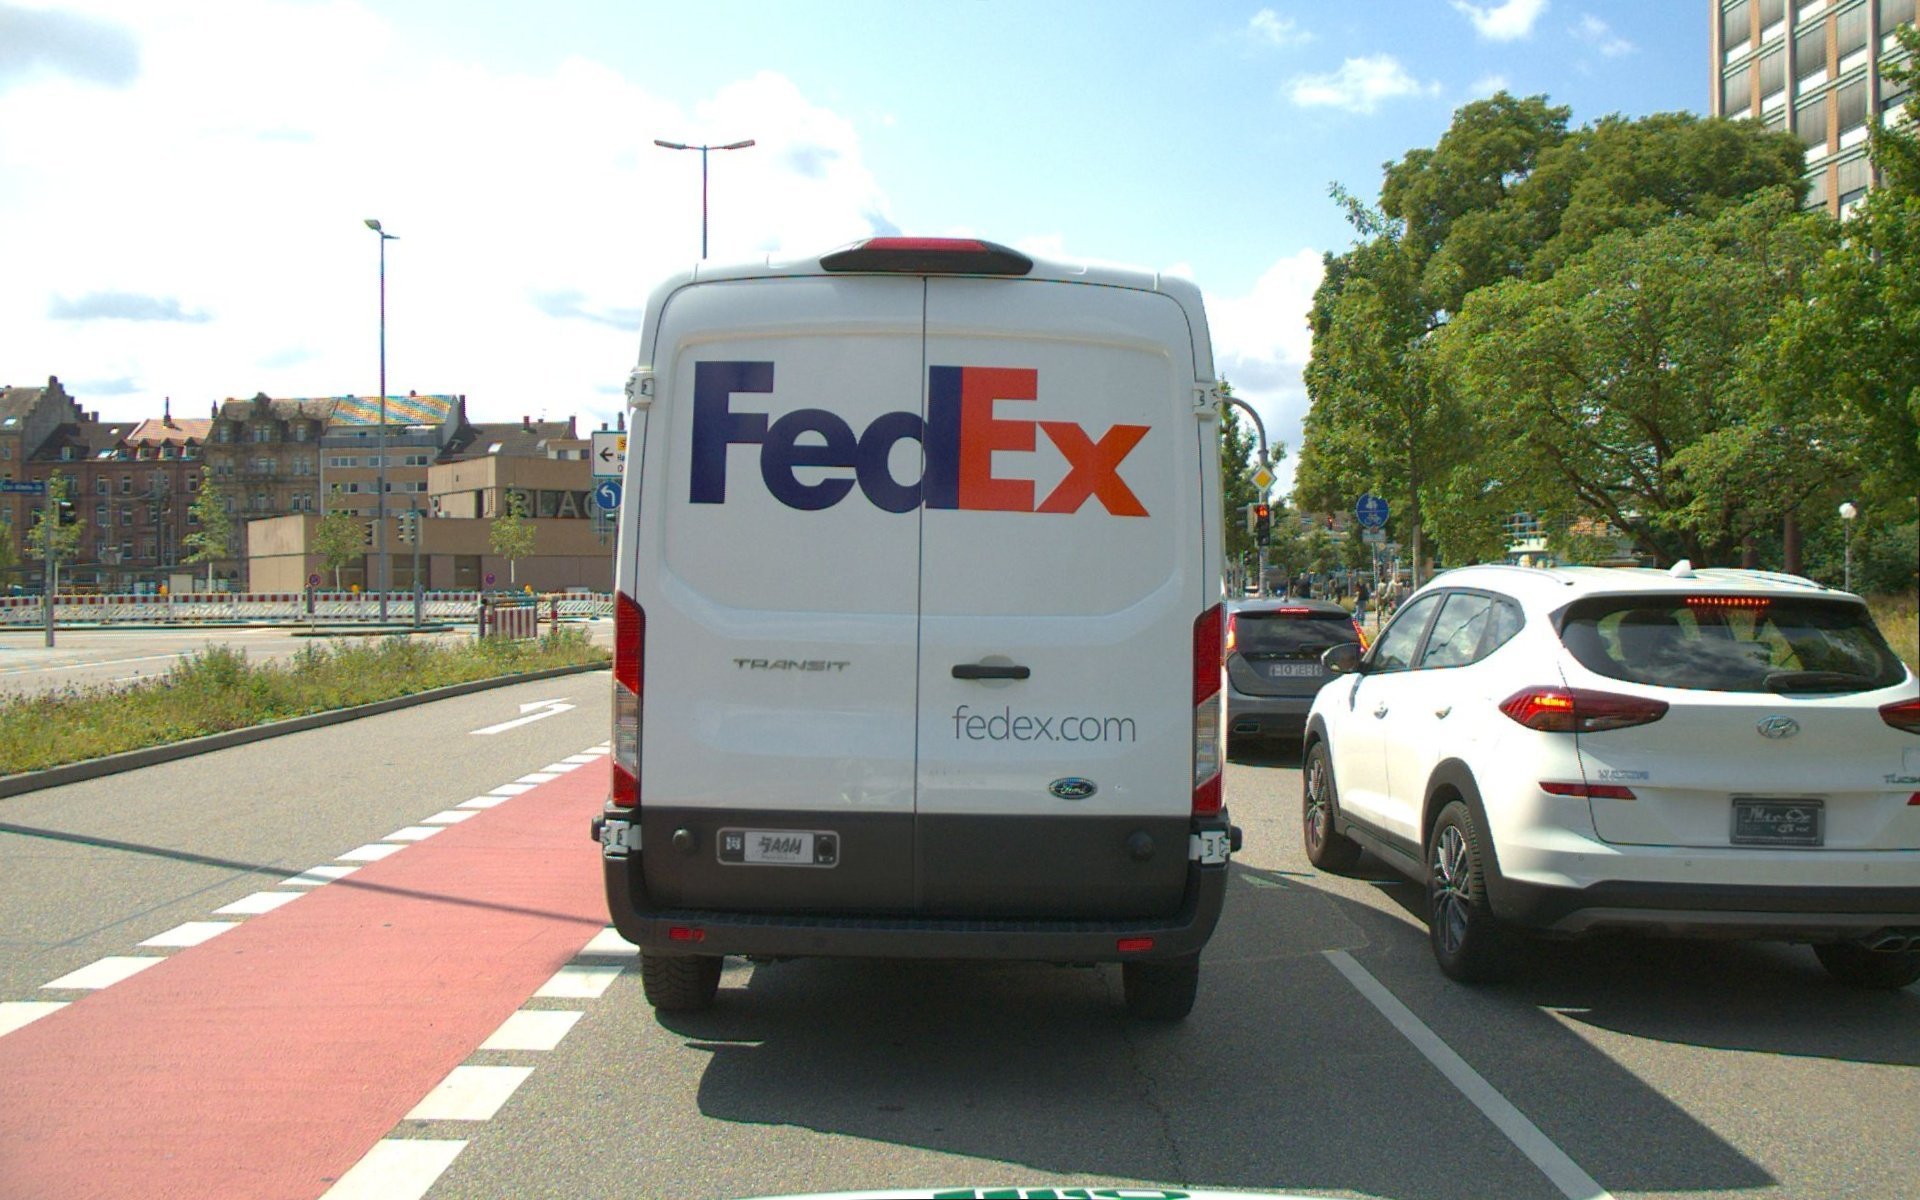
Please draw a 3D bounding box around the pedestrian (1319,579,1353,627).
[{"bbox_3d":[11.276,0.084,49.648,0.827,1.413,0.741,0,0,-1],"label":"pedestrian"}]

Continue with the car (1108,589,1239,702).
[{"bbox_3d":[2.921,0.578,23.137,1.454,1.453,3.433,0,1,1],"label":"car"}]

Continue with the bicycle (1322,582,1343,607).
[{"bbox_3d":[16.183,-0.245,71.794,0.535,1.048,1.927,0,1,2],"label":"bicycle"}]

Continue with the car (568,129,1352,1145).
[{"bbox_3d":[-0.122,0.092,7.301,2.098,2.699,5.701,0,0,-3],"label":"car"}]

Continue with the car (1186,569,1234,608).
[{"bbox_3d":[13.643,-0.583,90.036,2.048,2.049,4.647,0,0,15],"label":"car"}]

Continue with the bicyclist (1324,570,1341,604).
[{"bbox_3d":[16.187,-0.563,71.847,0.538,1.500,0.971,0,0,1],"label":"bicyclist"}]

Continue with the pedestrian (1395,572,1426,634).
[{"bbox_3d":[15.027,0.090,55.231,0.827,2.049,0.741,0,0,-1],"label":"pedestrian"}]

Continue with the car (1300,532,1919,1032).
[{"bbox_3d":[2.835,0.603,7.677,1.760,1.717,4.001,0,1,1],"label":"car"}]

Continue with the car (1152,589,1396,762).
[{"bbox_3d":[2.965,0.649,16.381,1.760,1.486,3.839,0,1,1],"label":"car"}]

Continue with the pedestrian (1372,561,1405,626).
[{"bbox_3d":[14.125,-0.217,54.498,0.829,2.094,0.739,0,0,-8],"label":"pedestrian"}]

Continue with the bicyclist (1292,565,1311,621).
[{"bbox_3d":[11.577,-0.230,56.102,0.579,1.877,1.124,0,1,9],"label":"bicyclist"}]

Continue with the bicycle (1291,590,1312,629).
[{"bbox_3d":[11.595,0.309,56.240,0.589,1.312,2.073,0,1,8],"label":"bicycle"}]

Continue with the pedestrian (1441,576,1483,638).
[{"bbox_3d":[12.950,0.170,42.692,0.827,1.565,0.835,0,0,-1],"label":"pedestrian"}]

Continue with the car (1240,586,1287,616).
[{"bbox_3d":[19.079,0.085,103.821,1.953,1.825,4.370,-1,0,23],"label":"car"}]

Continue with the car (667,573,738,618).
[{"bbox_3d":[-12.181,-0.194,78.381,1.951,2.049,4.003,0,0,13],"label":"car"}]
